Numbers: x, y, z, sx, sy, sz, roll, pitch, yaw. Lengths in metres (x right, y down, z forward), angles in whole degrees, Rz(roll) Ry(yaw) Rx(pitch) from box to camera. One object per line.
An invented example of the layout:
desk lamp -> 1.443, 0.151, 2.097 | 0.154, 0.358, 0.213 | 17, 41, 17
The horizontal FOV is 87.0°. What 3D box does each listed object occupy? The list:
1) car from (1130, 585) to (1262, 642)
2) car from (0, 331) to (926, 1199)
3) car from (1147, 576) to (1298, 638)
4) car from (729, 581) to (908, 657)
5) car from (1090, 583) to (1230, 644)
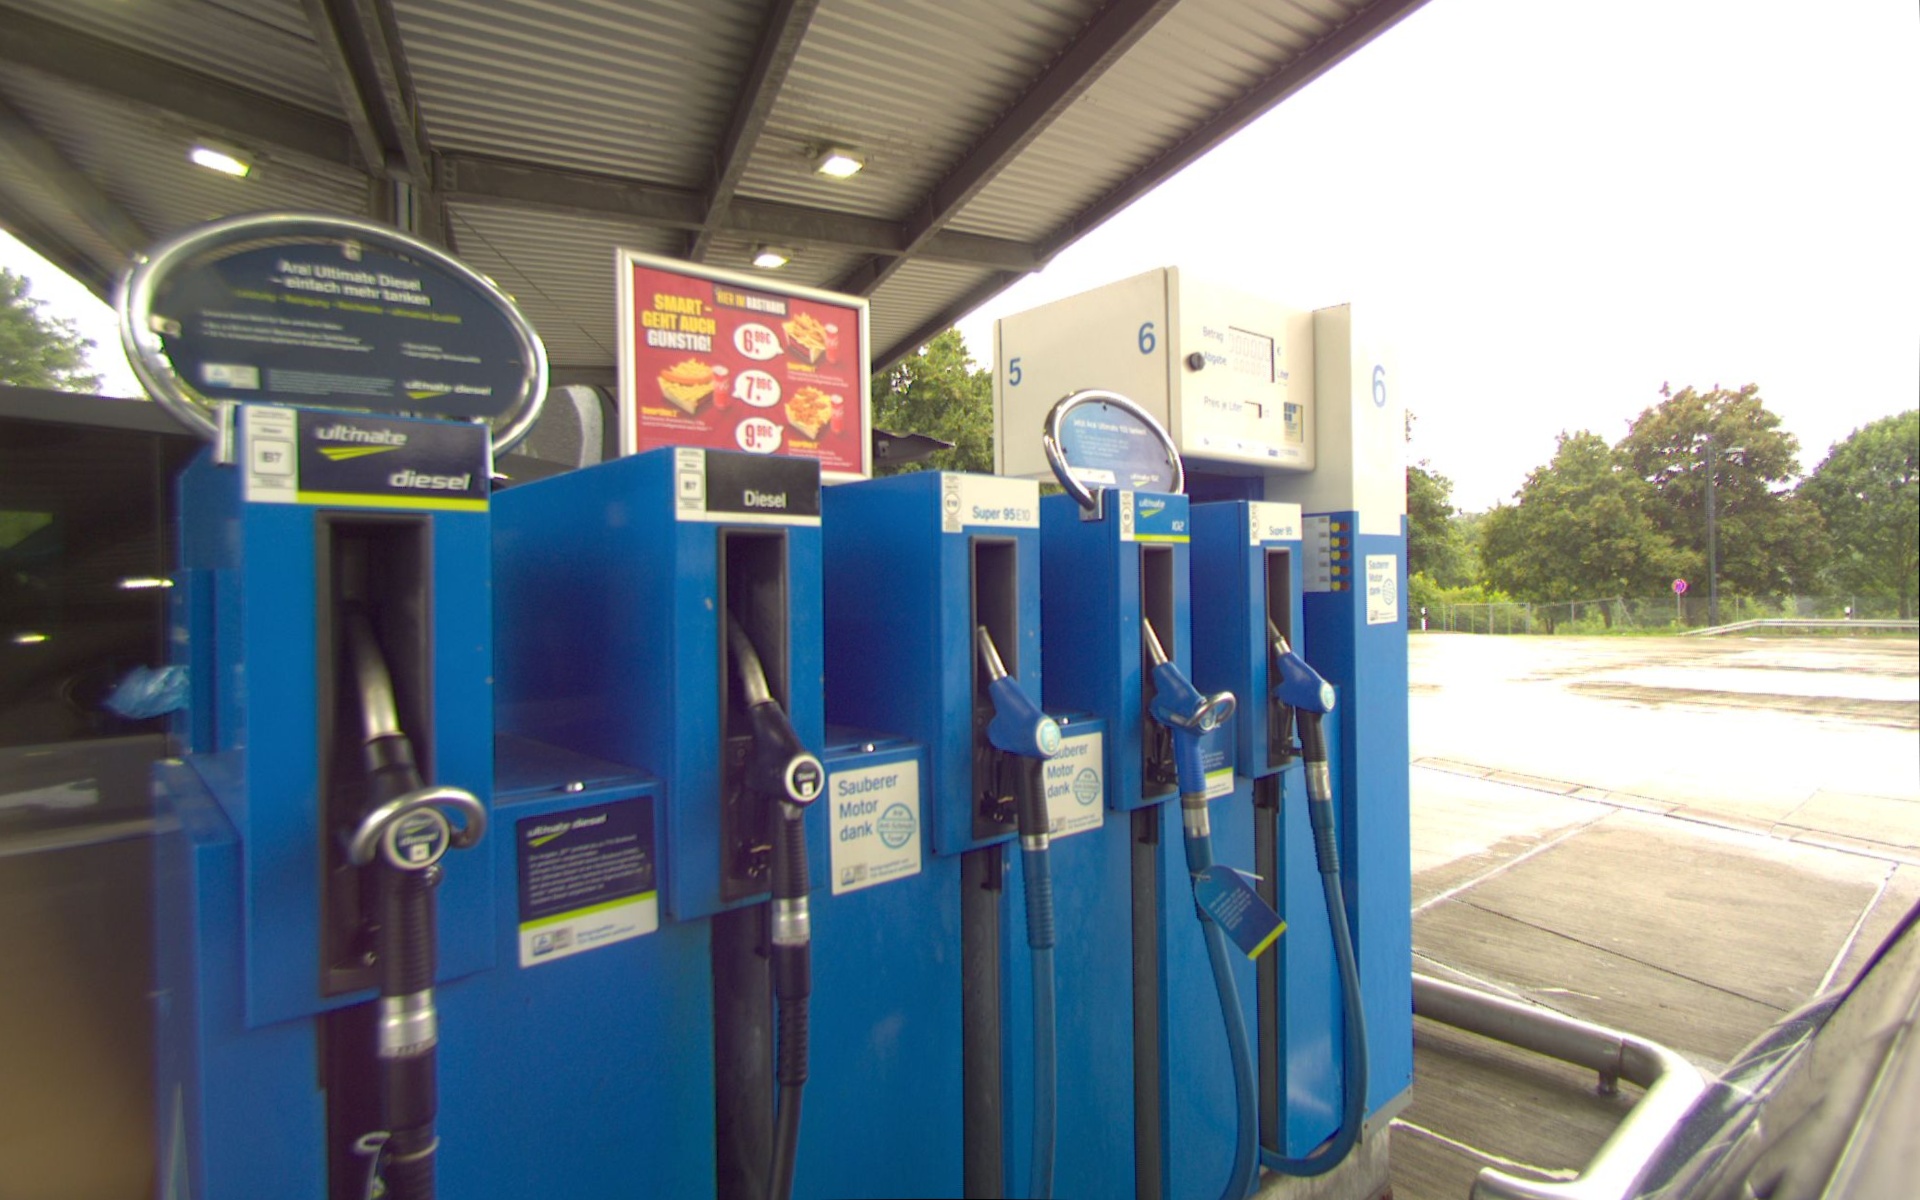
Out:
car -> 7.423, 0.384, 31.922 | 3.941, 1.680, 1.593 | 1, 0, 14
car -> -2.603, 0.498, 1.818 | 5.050, 1.821, 1.864 | -1, 0, -41
car -> 8.885, 0.205, 34.504 | 4.817, 1.974, 2.306 | 1, 1, 14
car -> -2.966, 0.390, 21.480 | 3.608, 1.524, 1.602 | 1, 0, -6
car -> 5.869, 0.372, 29.731 | 3.941, 1.680, 1.593 | 1, 0, 14
